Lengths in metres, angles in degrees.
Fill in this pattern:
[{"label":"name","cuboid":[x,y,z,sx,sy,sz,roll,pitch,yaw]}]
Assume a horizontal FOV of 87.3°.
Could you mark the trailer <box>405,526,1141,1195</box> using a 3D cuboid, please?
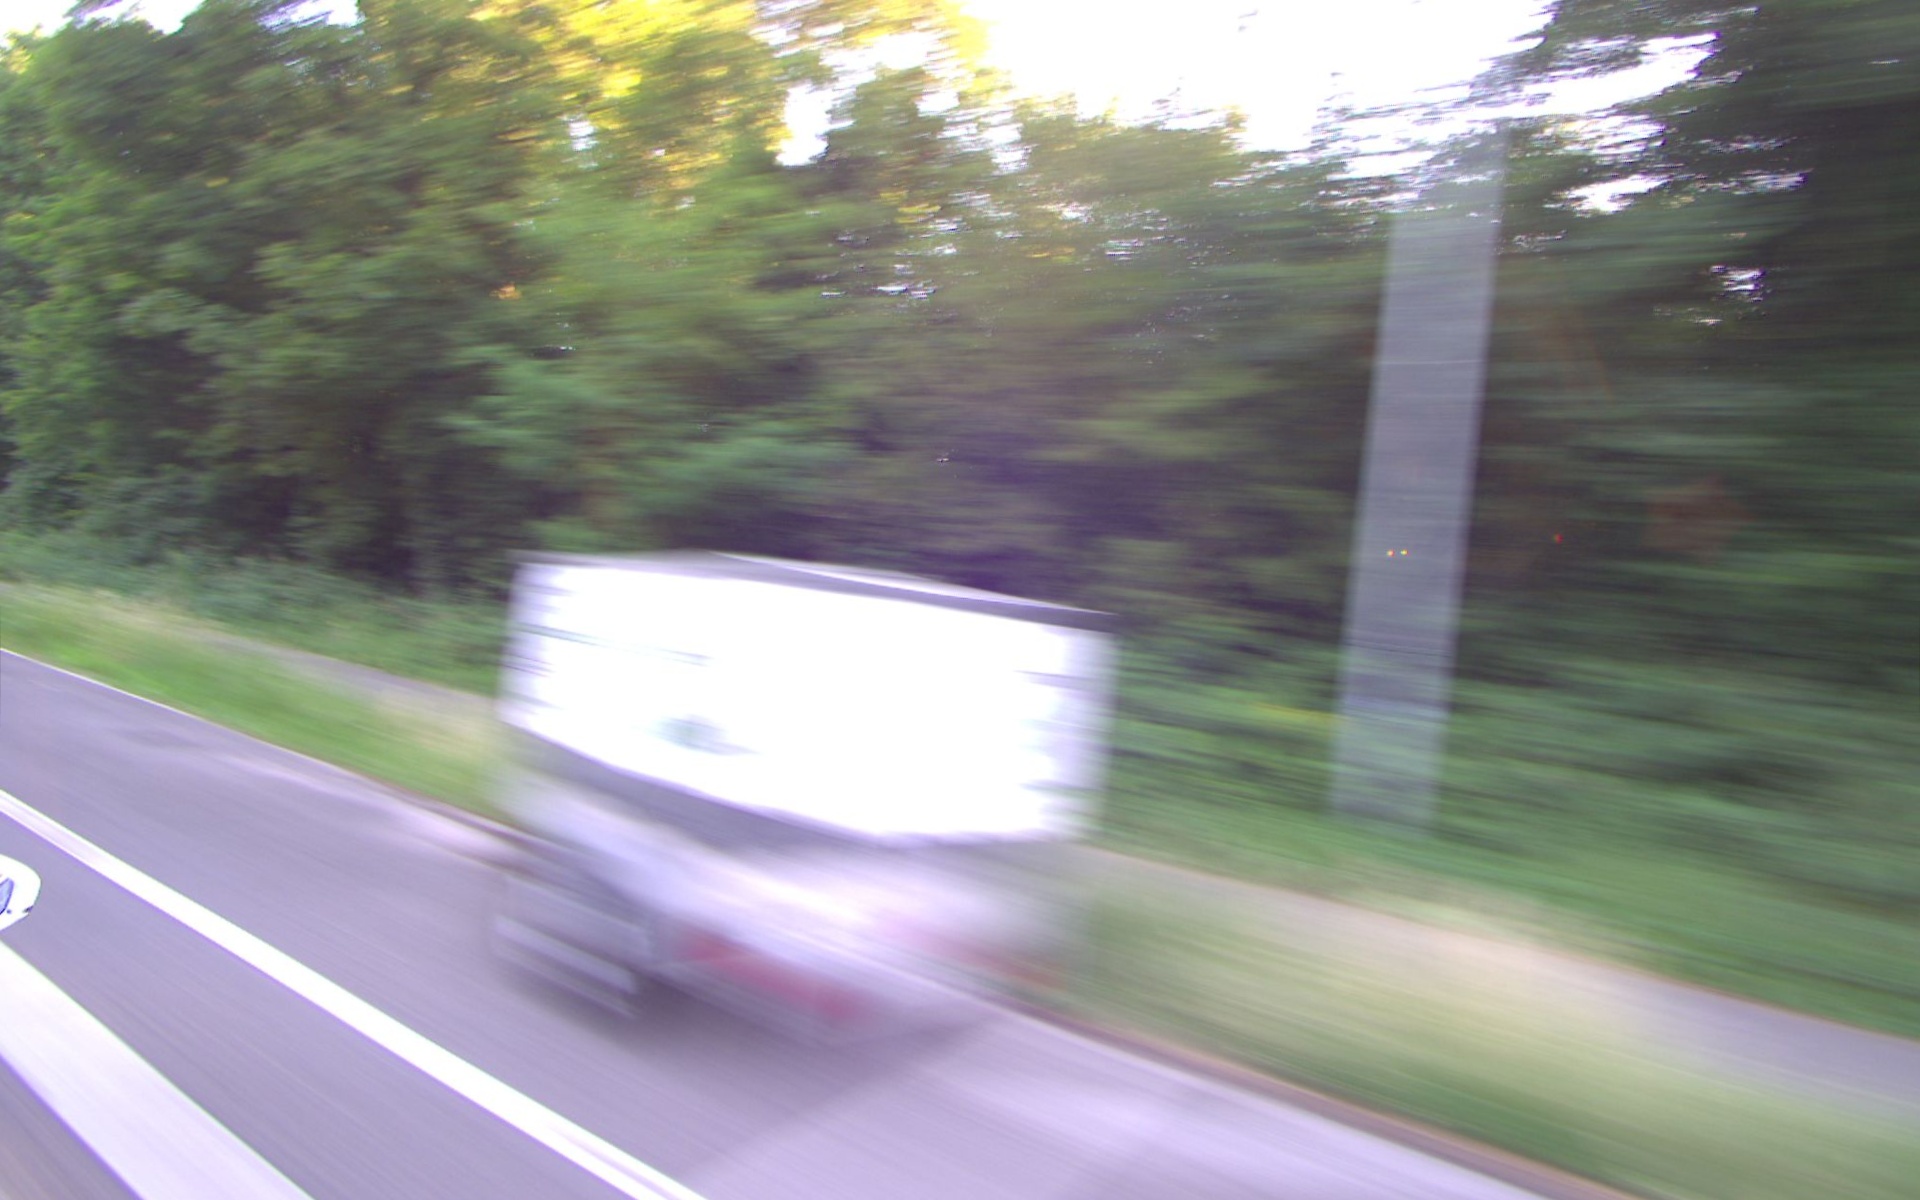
[{"label":"trailer","cuboid":[-1.188,0.627,4.482,1.449,1.683,3.734,5,1,-40]}]
